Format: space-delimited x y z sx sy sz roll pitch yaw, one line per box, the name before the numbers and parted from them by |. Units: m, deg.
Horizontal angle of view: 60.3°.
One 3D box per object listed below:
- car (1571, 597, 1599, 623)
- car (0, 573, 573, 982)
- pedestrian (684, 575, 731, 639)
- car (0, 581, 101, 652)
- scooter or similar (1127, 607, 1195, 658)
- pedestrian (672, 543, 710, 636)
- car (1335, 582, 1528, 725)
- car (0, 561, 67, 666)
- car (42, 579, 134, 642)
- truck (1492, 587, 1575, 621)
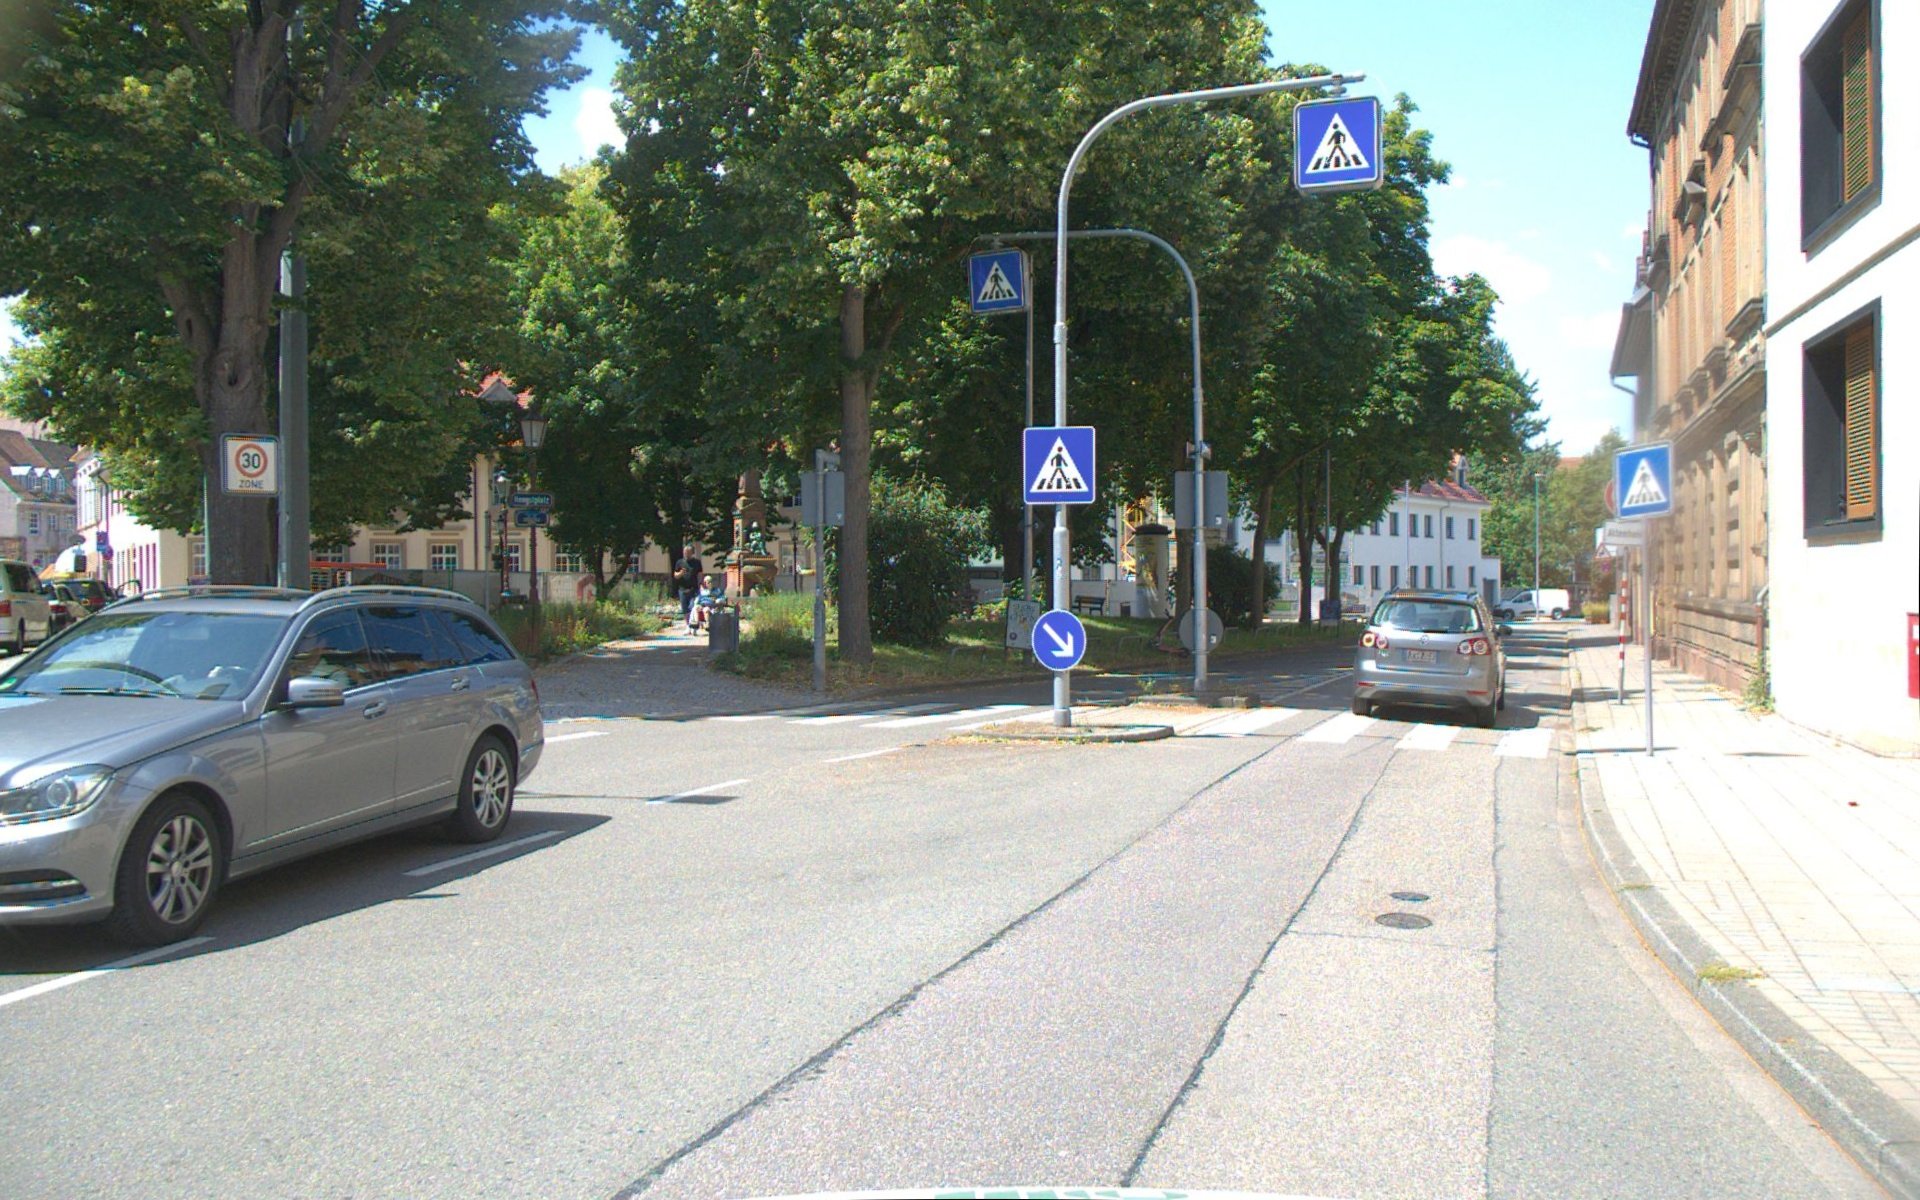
car | 40.570 0.658 107.392 1.613 1.601 3.640 1 1 20
car | -3.724 0.643 8.450 1.700 1.514 4.412 0 0 12
pedestrian | -5.176 0.131 33.916 0.888 1.273 1.147 0 2 -6
car | -22.579 0.371 40.909 1.757 1.652 4.459 0 0 -20
scooter or similar | 4.798 0.754 39.358 1.247 1.008 1.452 9 2 18
pedestrian | -5.653 -0.235 34.778 0.733 1.944 0.683 0 2 -6
car | 6.197 0.598 21.399 1.865 1.560 4.243 3 1 22
car | -20.087 0.256 34.260 2.019 2.037 5.218 0 0 -20
car | -25.058 0.276 47.652 1.757 1.723 4.175 0 0 -20
truck | 35.988 0.245 103.901 4.691 2.049 2.148 0 0 14
